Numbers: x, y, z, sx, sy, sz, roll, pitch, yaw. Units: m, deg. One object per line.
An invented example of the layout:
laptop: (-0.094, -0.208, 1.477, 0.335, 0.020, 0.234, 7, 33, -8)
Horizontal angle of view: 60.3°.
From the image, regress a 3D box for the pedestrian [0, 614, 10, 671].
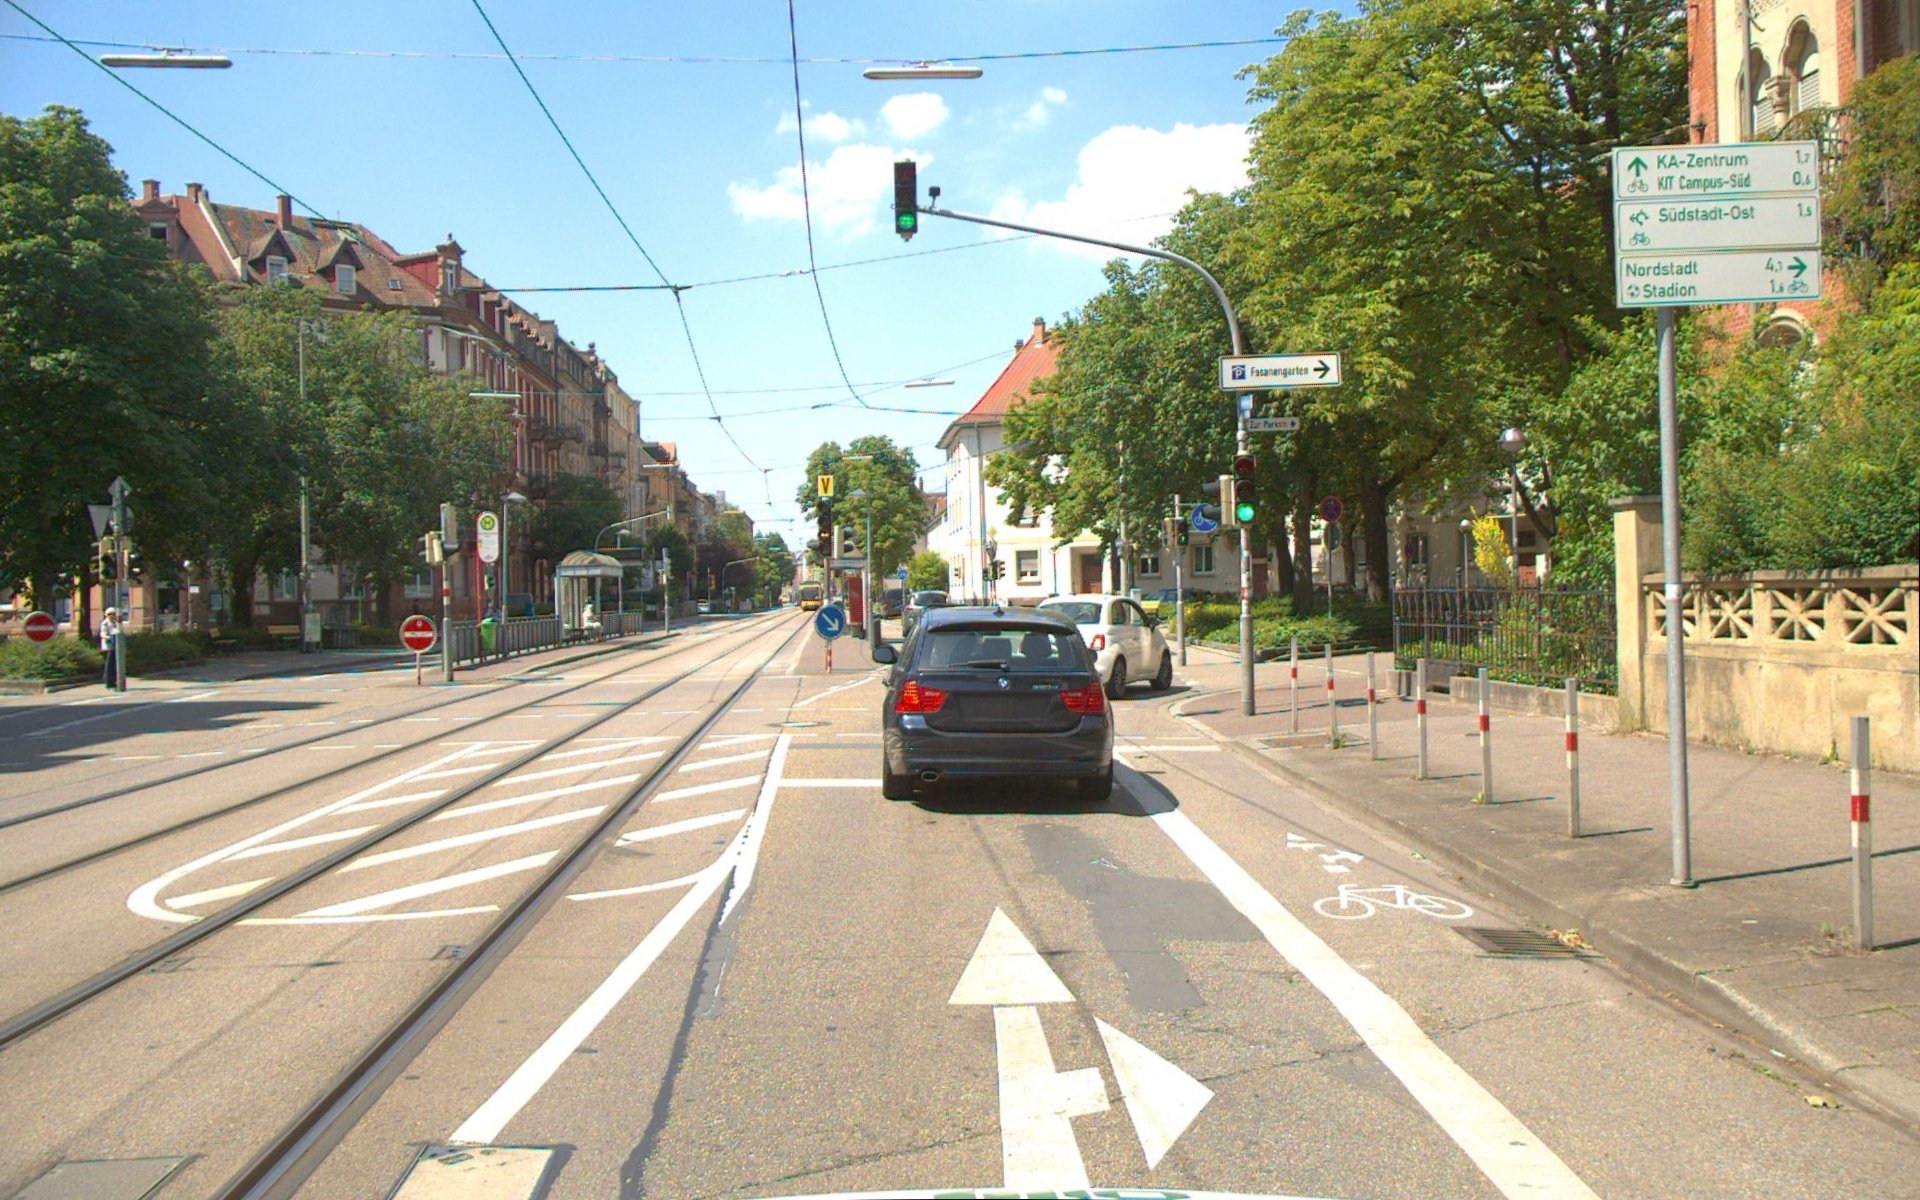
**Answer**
pedestrian: (-32.490, 1.439, 55.126, 0.978, 1.901, 1.018, -2, 0, 11)

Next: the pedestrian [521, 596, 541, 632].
pedestrian: (-22.327, 0.727, 86.111, 0.627, 1.843, 0.739, -2, 0, 29)

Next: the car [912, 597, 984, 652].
car: (-0.358, 0.629, 43.861, 1.658, 1.346, 3.818, -1, 0, -4)

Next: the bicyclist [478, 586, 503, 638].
bicyclist: (-17.548, 0.445, 61.862, 0.708, 1.903, 0.825, -2, 0, -4)

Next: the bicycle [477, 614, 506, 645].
bicycle: (-17.504, 1.086, 61.840, 0.715, 1.121, 1.713, -1, 0, -6)

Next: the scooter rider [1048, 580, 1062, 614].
scooter rider: (4.833, -0.163, 84.426, 0.580, 1.716, 0.527, -2, 0, -10)

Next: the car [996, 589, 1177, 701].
car: (1.995, 0.637, 25.054, 1.651, 1.510, 3.684, -2, 0, 22)

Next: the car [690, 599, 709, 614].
car: (-28.058, 0.745, 178.230, 1.756, 1.614, 3.987, 0, 0, -13)

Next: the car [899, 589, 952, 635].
car: (-1.264, 0.408, 59.039, 1.658, 1.540, 3.818, -1, 0, -4)

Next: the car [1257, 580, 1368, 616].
car: (14.258, -0.063, 67.107, 1.773, 1.351, 4.283, -2, 0, -36)

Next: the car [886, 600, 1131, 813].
car: (0.294, 0.742, 13.720, 1.687, 1.433, 4.564, 1, 0, -1)

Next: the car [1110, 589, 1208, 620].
car: (8.706, 0.195, 72.367, 3.913, 1.265, 1.620, -2, 0, 31)

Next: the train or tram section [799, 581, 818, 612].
train or tram section: (-18.134, -0.428, 198.345, 2.147, 3.543, 8.836, -2, 0, -5)

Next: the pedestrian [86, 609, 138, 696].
pedestrian: (-17.699, 1.082, 34.517, 0.831, 1.753, 0.908, -2, 0, -35)

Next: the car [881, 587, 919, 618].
car: (-3.843, 0.171, 105.271, 1.956, 1.881, 3.993, -2, 0, -8)

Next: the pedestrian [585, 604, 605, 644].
pedestrian: (-12.060, 0.790, 54.644, 0.602, 1.264, 0.626, -2, 0, -10)

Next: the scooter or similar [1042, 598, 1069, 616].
scooter or similar: (4.858, 0.346, 84.416, 1.288, 0.852, 0.525, -2, 0, -10)
